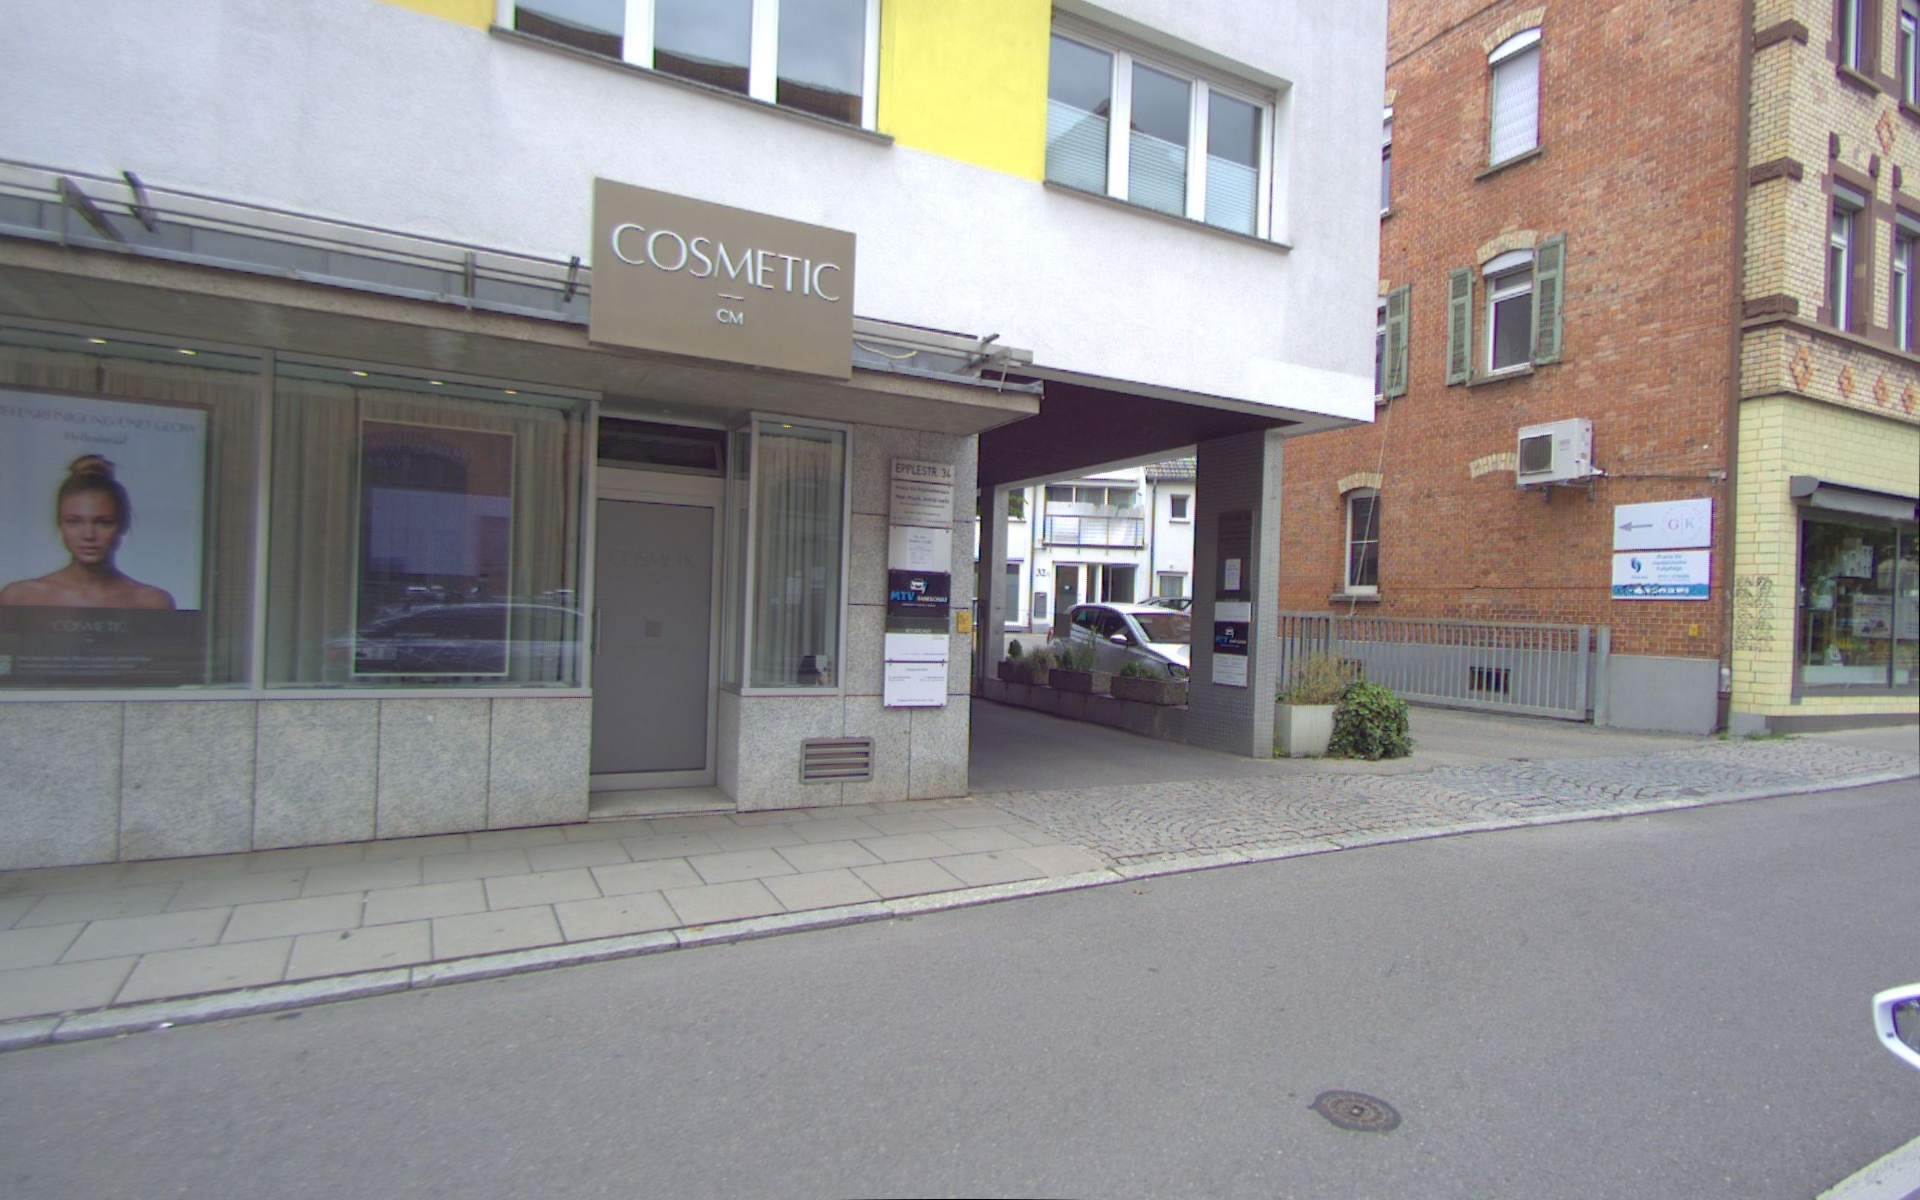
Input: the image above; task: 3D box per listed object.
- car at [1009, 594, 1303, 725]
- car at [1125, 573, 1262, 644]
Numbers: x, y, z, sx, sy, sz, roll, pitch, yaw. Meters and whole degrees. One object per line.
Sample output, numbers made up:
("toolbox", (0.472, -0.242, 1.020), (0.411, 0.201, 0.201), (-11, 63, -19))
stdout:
("car", (2.608, 0.724, 14.271), (1.977, 1.550, 3.967), (1, 0, -30))
("car", (7.084, 0.241, 30.722), (3.919, 2.040, 2.001), (1, 0, 12))
